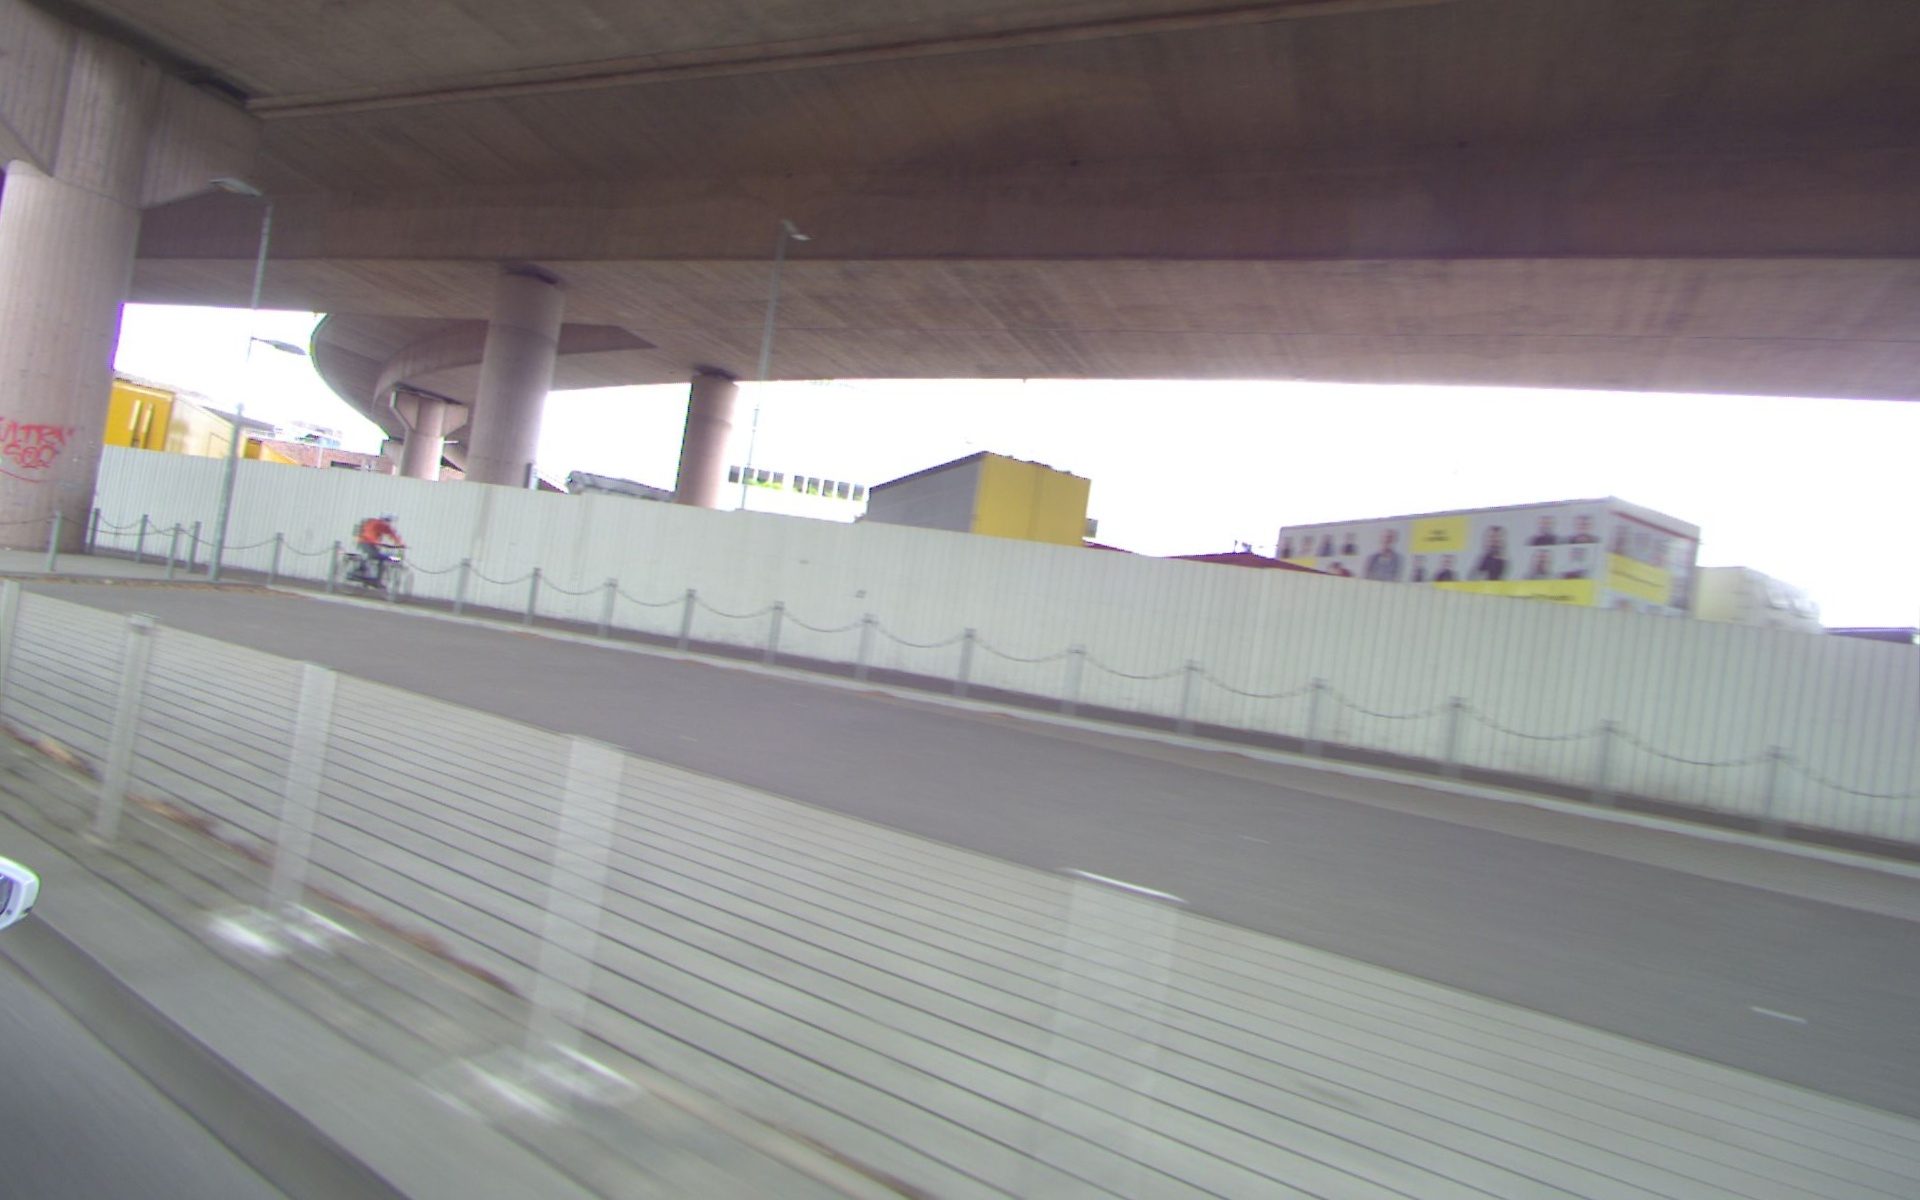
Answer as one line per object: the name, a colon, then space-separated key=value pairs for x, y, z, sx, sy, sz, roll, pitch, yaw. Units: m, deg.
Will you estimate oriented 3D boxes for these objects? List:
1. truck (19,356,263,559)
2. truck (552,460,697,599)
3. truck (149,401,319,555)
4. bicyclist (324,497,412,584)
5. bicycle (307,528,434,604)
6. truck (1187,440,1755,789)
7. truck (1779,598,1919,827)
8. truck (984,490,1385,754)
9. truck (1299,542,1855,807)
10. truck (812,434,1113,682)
truck: x=-25.569 y=-4.081 z=32.091 sx=3.108 sy=4.973 sz=8.672 roll=9 pitch=-2 yaw=-23
truck: x=-9.653 y=-1.916 z=28.385 sx=3.104 sy=2.982 sz=8.669 roll=6 pitch=1 yaw=-22
truck: x=-29.223 y=-4.638 z=41.039 sx=3.108 sy=4.959 sz=8.672 roll=9 pitch=-2 yaw=-23
bicyclist: x=-11.110 y=-1.108 z=18.885 sx=1.046 sy=1.422 sz=0.798 roll=8 pitch=1 yaw=19
bicycle: x=-11.042 y=-0.644 z=18.842 sx=2.091 sy=1.111 sz=0.804 roll=8 pitch=0 yaw=19
truck: x=9.032 y=0.119 z=19.870 sx=3.109 sy=4.983 sz=9.668 roll=8 pitch=0 yaw=-24
truck: x=21.197 y=2.547 z=17.469 sx=2.974 sy=4.355 sz=10.241 roll=8 pitch=0 yaw=-23
truck: x=4.106 y=0.245 z=22.041 sx=2.861 sy=4.234 sz=10.011 roll=8 pitch=0 yaw=-23
truck: x=12.078 y=1.121 z=21.480 sx=2.779 sy=4.208 sz=9.872 roll=8 pitch=0 yaw=-24
truck: x=-0.512 y=-0.965 z=24.431 sx=3.109 sy=4.496 sz=9.668 roll=8 pitch=0 yaw=-24
